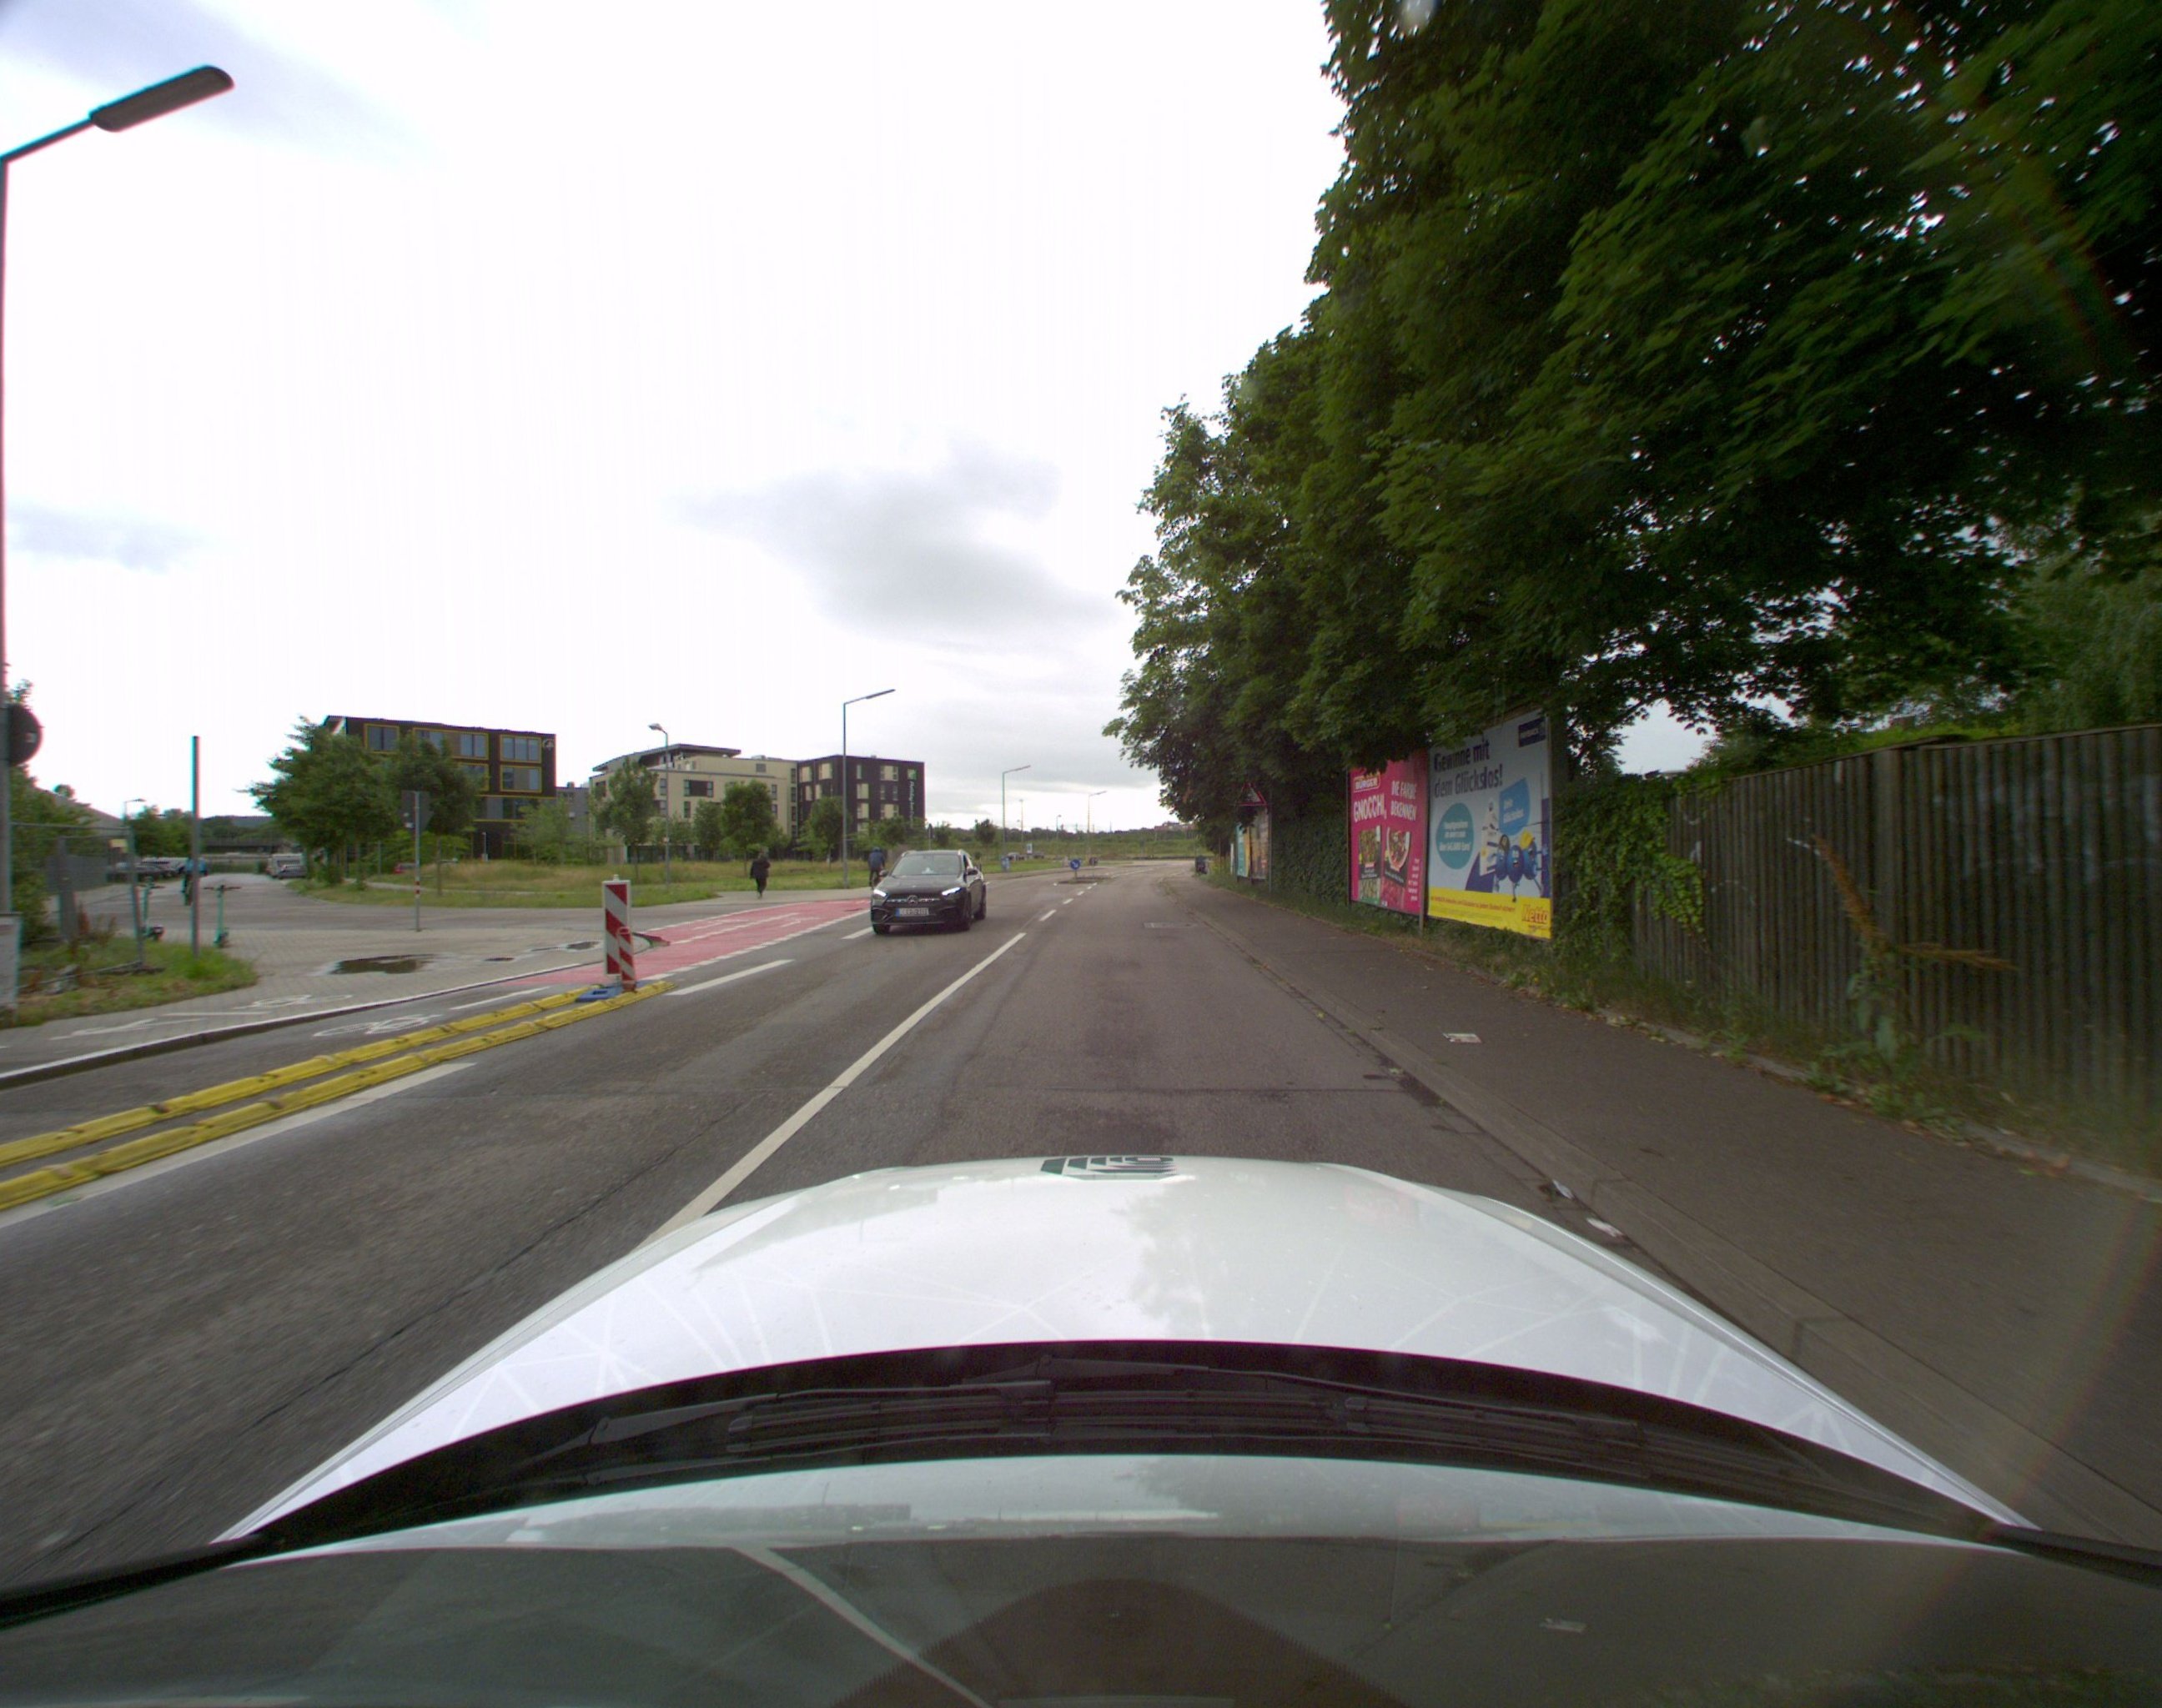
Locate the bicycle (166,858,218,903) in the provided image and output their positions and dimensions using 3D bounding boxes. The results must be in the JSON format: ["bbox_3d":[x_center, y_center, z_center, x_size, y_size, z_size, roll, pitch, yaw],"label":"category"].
[{"bbox_3d":[-33.177,0.948,30.382,2.468,1.584,1.093,0,1,38],"label":"bicycle"}]

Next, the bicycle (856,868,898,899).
[{"bbox_3d":[-7.725,1.089,30.909,0.880,1.052,2.470,-1,1,2],"label":"bicycle"}]

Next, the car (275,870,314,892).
[{"bbox_3d":[-74.371,2.533,77.025,5.033,1.864,2.221,0,1,41],"label":"car"}]

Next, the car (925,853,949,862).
[{"bbox_3d":[-25.997,0.611,147.092,1.974,1.517,4.180,0,1,36],"label":"car"}]

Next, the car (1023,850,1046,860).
[{"bbox_3d":[-8.231,0.153,144.464,3.950,1.822,2.012,0,1,44],"label":"car"}]

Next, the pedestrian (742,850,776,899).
[{"bbox_3d":[-12.118,0.758,30.692,0.841,1.782,1.076,-1,1,-2],"label":"pedestrian"}]

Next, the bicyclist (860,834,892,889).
[{"bbox_3d":[-7.744,0.280,30.842,0.858,2.013,1.178,-1,1,2],"label":"bicyclist"}]

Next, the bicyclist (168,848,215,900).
[{"bbox_3d":[-33.205,0.724,30.399,1.384,1.899,1.084,0,1,39],"label":"bicyclist"}]

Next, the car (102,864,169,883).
[{"bbox_3d":[-90.727,1.871,78.180,1.787,1.523,4.026,-2,0,38],"label":"car"}]

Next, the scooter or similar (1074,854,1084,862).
[{"bbox_3d":[-0.336,0.604,124.199,1.451,1.168,0.574,0,0,18],"label":"scooter or similar"}]

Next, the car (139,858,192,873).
[{"bbox_3d":[-115.810,1.462,103.047,1.974,1.771,4.283,0,0,37],"label":"car"}]

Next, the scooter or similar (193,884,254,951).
[{"bbox_3d":[-16.264,1.166,15.479,0.660,1.142,1.880,0,0,-42],"label":"scooter or similar"}]

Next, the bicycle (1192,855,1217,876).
[{"bbox_3d":[6.910,0.634,45.491,0.788,1.111,1.963,-1,0,25],"label":"bicycle"}]

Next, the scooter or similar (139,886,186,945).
[{"bbox_3d":[-18.717,1.231,16.590,1.321,1.142,0.414,0,-1,32],"label":"scooter or similar"}]

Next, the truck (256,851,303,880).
[{"bbox_3d":[-81.809,1.143,83.066,7.226,2.706,2.857,0,1,41],"label":"truck"}]

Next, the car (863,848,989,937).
[{"bbox_3d":[-3.081,0.682,17.107,1.875,1.566,4.356,-1,1,-1],"label":"car"}]
